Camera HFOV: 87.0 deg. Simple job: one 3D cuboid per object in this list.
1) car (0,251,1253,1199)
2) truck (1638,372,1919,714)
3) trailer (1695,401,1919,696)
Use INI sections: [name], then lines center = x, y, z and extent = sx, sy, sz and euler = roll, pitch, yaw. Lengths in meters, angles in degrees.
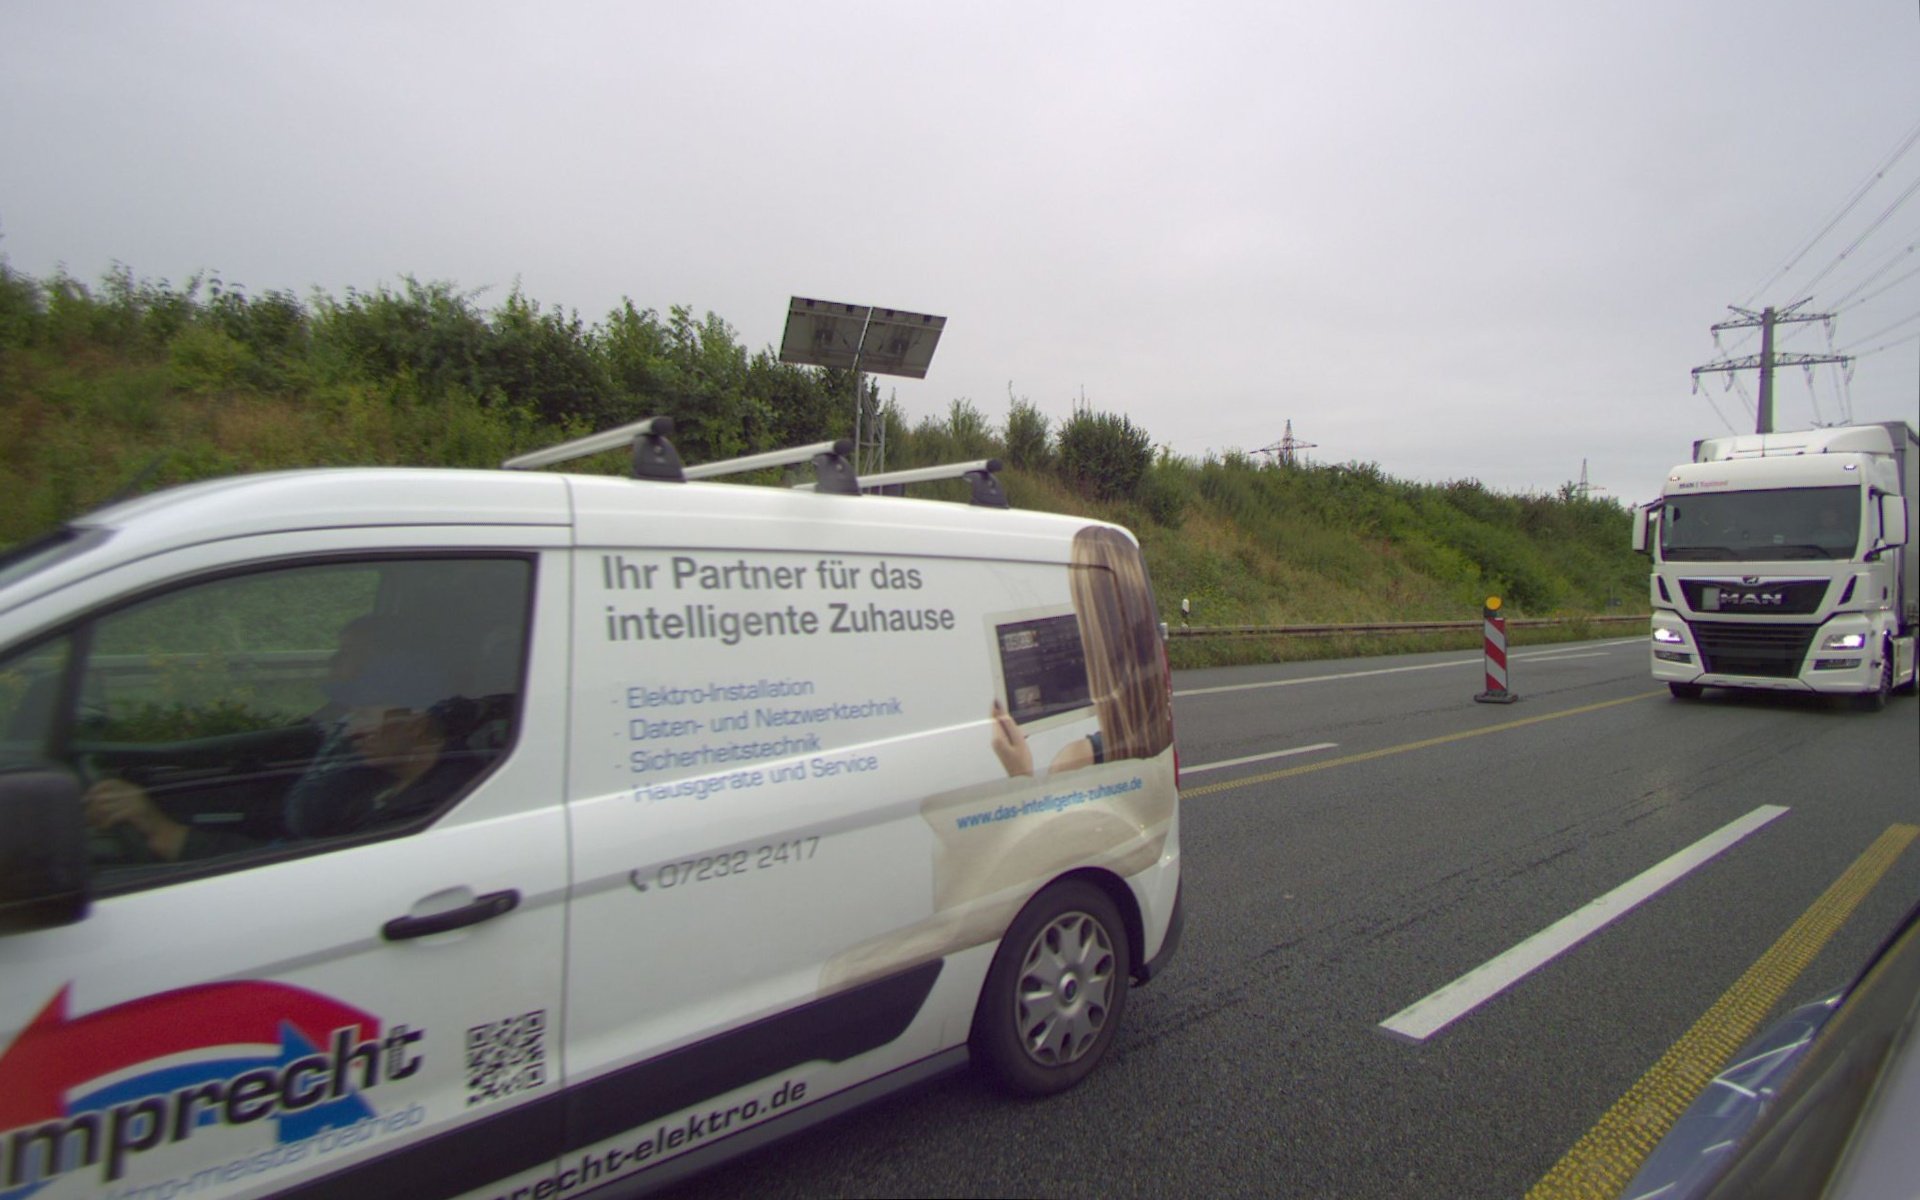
[car]
center = -1.331, 0.432, 2.626
extent = 4.574, 1.862, 1.832
euler = 0, 1, -41
[truck]
center = 12.703, -0.722, 15.283
extent = 5.591, 4.190, 2.711
euler = 0, 1, -41
[trailer]
center = 17.923, -0.768, 19.816
extent = 13.491, 4.198, 2.711
euler = 0, 1, -41
